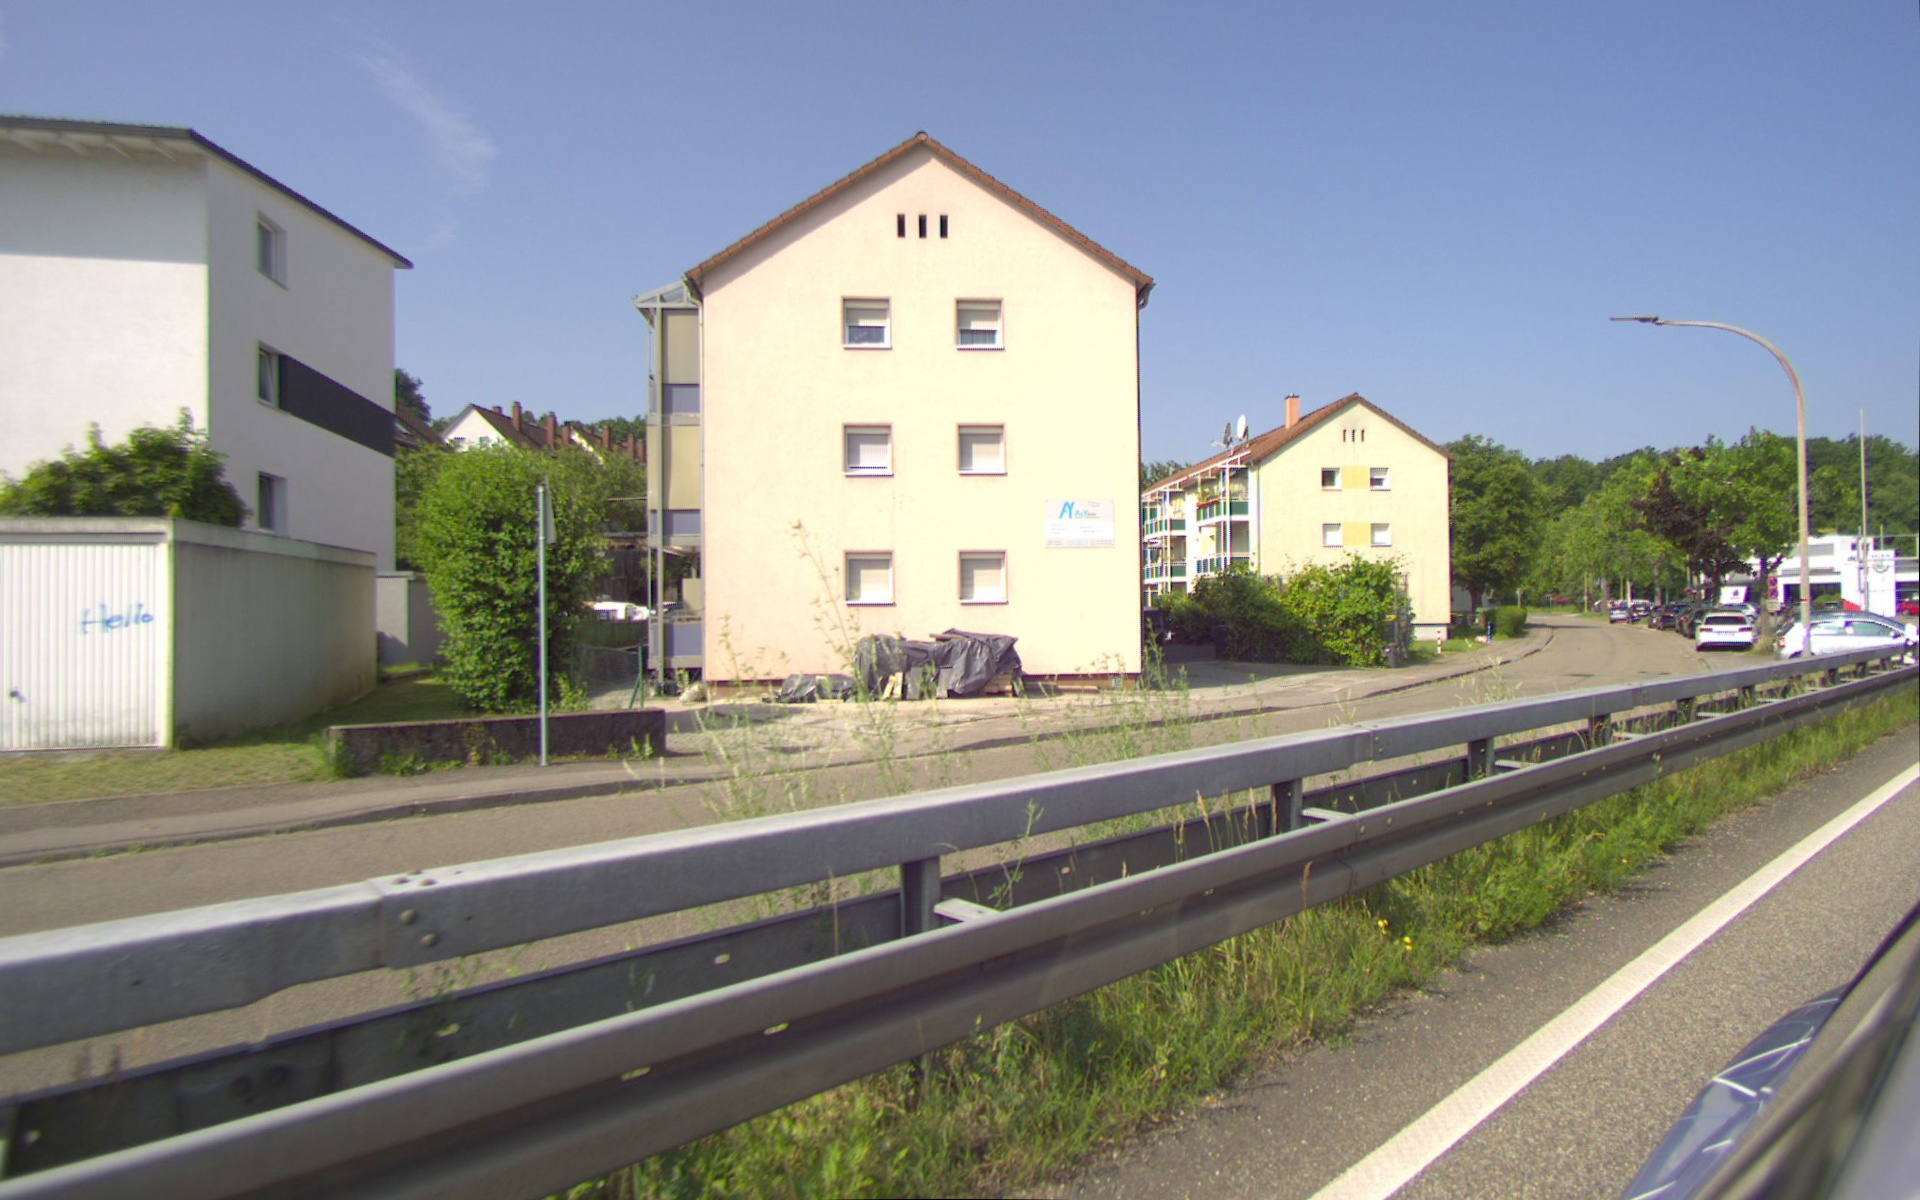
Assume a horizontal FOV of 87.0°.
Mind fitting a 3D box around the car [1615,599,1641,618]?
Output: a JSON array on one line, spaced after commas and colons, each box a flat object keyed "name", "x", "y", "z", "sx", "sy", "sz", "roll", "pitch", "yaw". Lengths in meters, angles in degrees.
[{"name": "car", "x": 55.909, "y": 0.656, "z": 84.782, "sx": 1.774, "sy": 1.493, "sz": 3.941, "roll": 0, "pitch": 1, "yaw": 33}]

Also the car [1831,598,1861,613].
[{"name": "car", "x": 100.833, "y": 0.612, "z": 115.136, "sx": 4.531, "sy": 1.565, "sz": 2.000, "roll": -1, "pitch": 2, "yaw": -41}]

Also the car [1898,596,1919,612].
[{"name": "car", "x": 95.152, "y": 0.411, "z": 98.909, "sx": 1.892, "sy": 1.584, "sz": 4.760, "roll": 0, "pitch": 2, "yaw": -26}]

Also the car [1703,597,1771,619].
[{"name": "car", "x": 56.733, "y": 0.582, "z": 73.967, "sx": 3.737, "sy": 1.541, "sz": 1.638, "roll": 0, "pitch": 0, "yaw": 32}]

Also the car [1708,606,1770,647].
[{"name": "car", "x": 29.803, "y": 0.959, "z": 38.724, "sx": 1.780, "sy": 1.438, "sz": 4.377, "roll": 0, "pitch": 0, "yaw": 38}]

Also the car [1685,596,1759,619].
[{"name": "car", "x": 58.341, "y": 0.547, "z": 77.598, "sx": 4.467, "sy": 1.620, "sz": 1.819, "roll": 0, "pitch": 1, "yaw": 35}]

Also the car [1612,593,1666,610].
[{"name": "car", "x": 72.978, "y": 0.173, "z": 108.802, "sx": 4.721, "sy": 1.654, "sz": 1.908, "roll": 1, "pitch": 2, "yaw": 35}]

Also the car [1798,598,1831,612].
[{"name": "car", "x": 99.147, "y": 0.585, "z": 117.402, "sx": 4.526, "sy": 1.565, "sz": 2.002, "roll": -1, "pitch": 2, "yaw": -38}]

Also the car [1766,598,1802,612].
[{"name": "car", "x": 97.615, "y": 0.556, "z": 119.824, "sx": 4.520, "sy": 1.565, "sz": 2.005, "roll": -1, "pitch": 2, "yaw": -33}]

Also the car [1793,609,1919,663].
[{"name": "car", "x": 27.500, "y": 1.055, "z": 30.122, "sx": 3.985, "sy": 1.468, "sz": 1.737, "roll": -5, "pitch": -3, "yaw": 44}]

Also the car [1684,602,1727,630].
[{"name": "car", "x": 40.678, "y": 0.852, "z": 55.261, "sx": 1.644, "sy": 1.383, "sz": 3.619, "roll": 0, "pitch": 1, "yaw": 33}]

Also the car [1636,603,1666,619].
[{"name": "car", "x": 53.971, "y": 0.832, "z": 79.128, "sx": 1.580, "sy": 1.201, "sz": 3.625, "roll": 0, "pitch": 1, "yaw": 29}]

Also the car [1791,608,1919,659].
[{"name": "car", "x": 28.965, "y": 1.032, "z": 32.017, "sx": 4.049, "sy": 1.470, "sz": 1.705, "roll": 0, "pitch": 1, "yaw": 38}]

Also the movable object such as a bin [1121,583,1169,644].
[{"name": "movable object such as a bin", "x": 7.788, "y": 0.545, "z": 42.869, "sx": 1.557, "sy": 2.387, "sz": 3.528, "roll": -3, "pitch": 0, "yaw": 5}]

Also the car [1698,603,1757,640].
[{"name": "car", "x": 33.135, "y": 0.873, "z": 43.767, "sx": 1.697, "sy": 1.423, "sz": 4.432, "roll": 0, "pitch": 1, "yaw": 33}]

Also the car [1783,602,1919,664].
[{"name": "car", "x": 26.014, "y": 0.906, "z": 28.545, "sx": 4.227, "sy": 1.593, "sz": 1.890, "roll": -5, "pitch": -3, "yaw": 41}]

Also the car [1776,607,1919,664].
[{"name": "car", "x": 23.641, "y": 0.929, "z": 26.624, "sx": 3.260, "sy": 1.394, "sz": 1.526, "roll": -3, "pitch": -1, "yaw": 42}]

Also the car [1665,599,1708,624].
[{"name": "car", "x": 44.839, "y": 0.686, "z": 62.531, "sx": 1.901, "sy": 1.423, "sz": 4.472, "roll": 0, "pitch": 1, "yaw": 33}]
